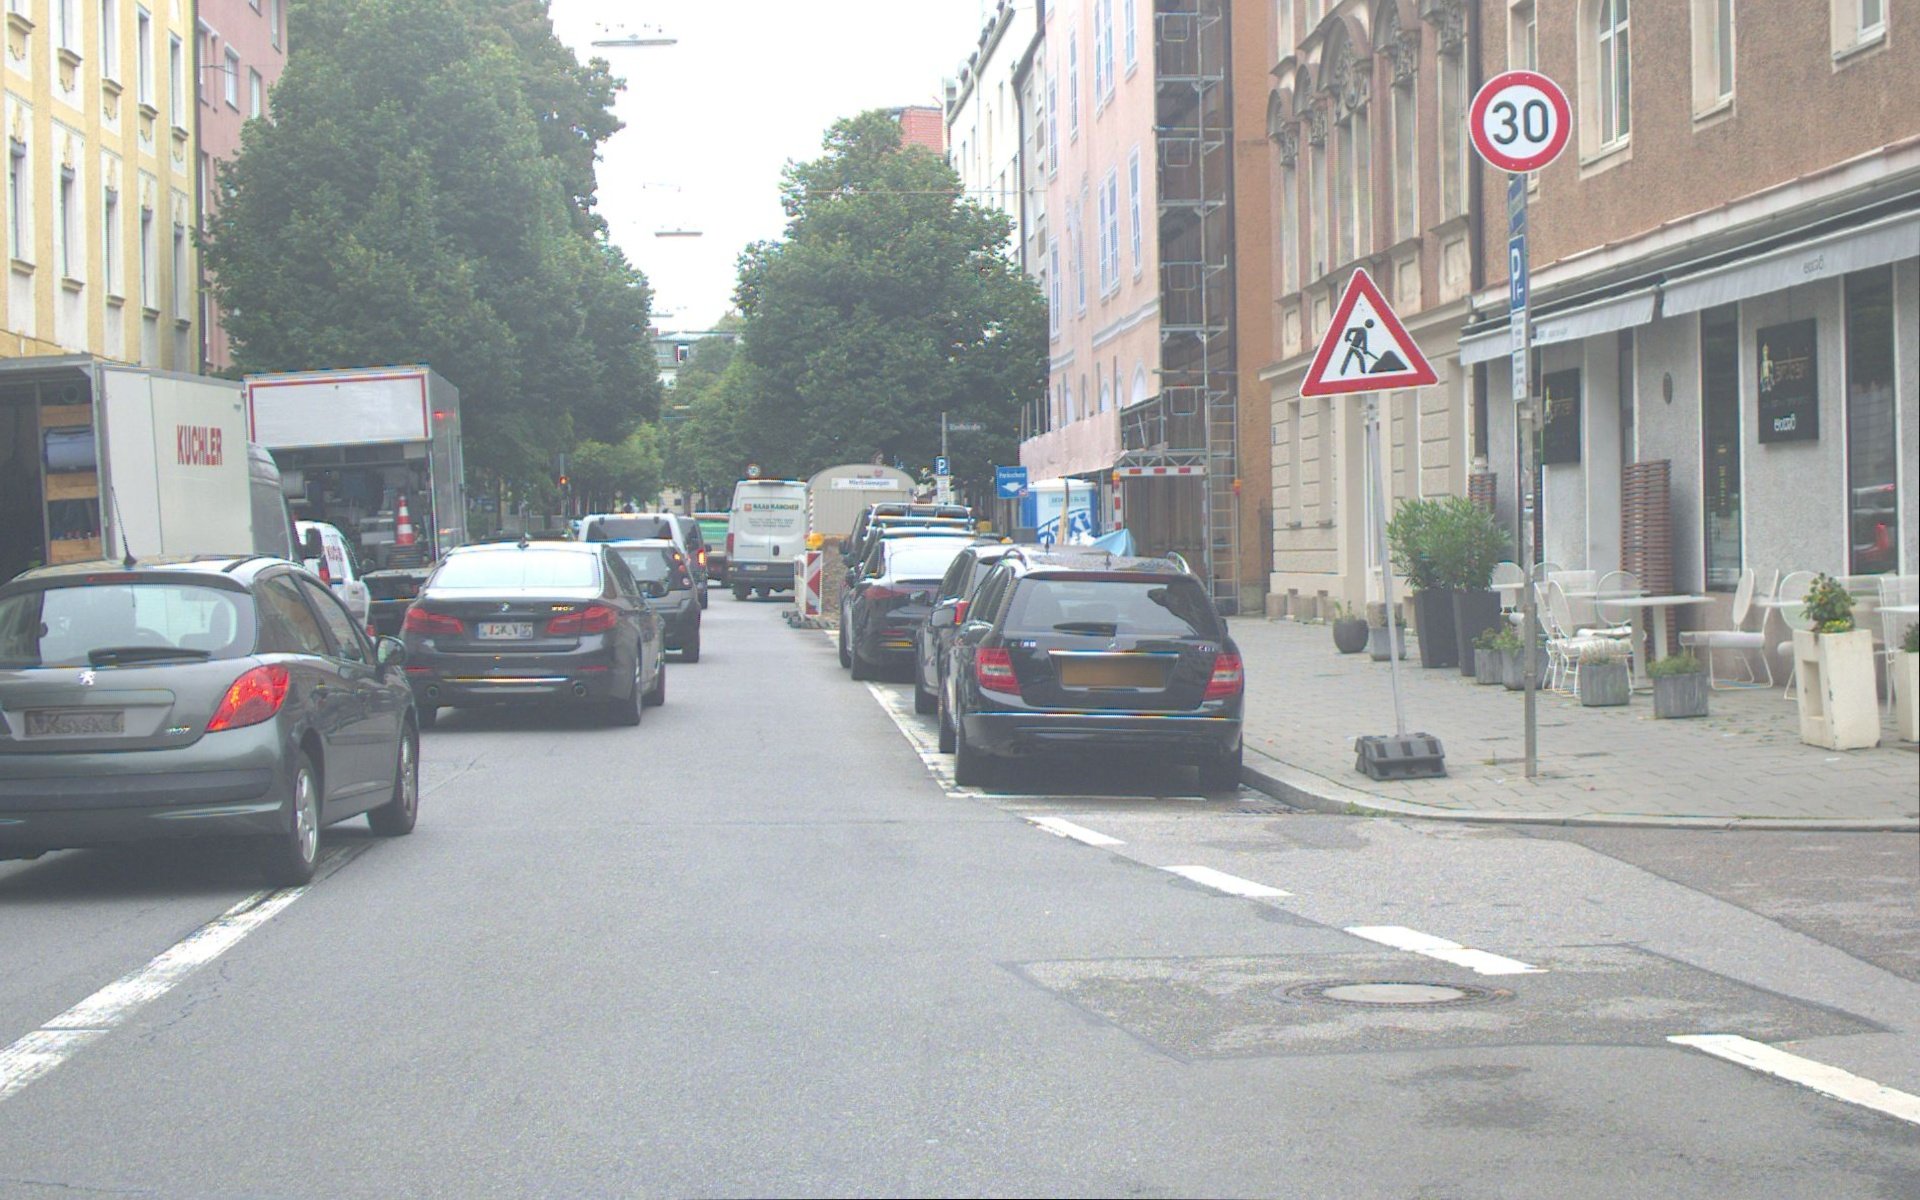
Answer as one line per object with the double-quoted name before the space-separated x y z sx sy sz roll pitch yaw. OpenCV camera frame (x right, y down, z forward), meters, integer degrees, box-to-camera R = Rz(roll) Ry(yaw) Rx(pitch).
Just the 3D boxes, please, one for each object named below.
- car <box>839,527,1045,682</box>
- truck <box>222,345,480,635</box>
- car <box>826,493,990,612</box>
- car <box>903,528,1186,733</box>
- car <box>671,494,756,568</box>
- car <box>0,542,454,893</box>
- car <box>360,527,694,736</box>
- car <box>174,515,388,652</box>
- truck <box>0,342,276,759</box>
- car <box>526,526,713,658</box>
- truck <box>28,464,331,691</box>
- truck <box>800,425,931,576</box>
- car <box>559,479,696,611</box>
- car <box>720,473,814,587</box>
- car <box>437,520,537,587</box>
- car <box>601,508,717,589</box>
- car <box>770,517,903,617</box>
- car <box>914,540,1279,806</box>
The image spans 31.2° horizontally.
"car" -0.252 0.000 36.502 1.844 1.424 4.307 2 2 -4
"truck" -8.790 -1.577 50.374 3.012 3.938 6.997 0 1 -4
"car" -0.717 -0.649 44.492 1.990 1.424 4.141 -1 2 -2
"car" 0.601 0.188 27.858 1.844 1.424 4.141 2 2 -4
"car" -6.459 -1.811 90.461 1.993 1.897 4.000 0 1 -1
"car" -3.657 0.468 16.543 1.759 1.456 4.074 -1 1 1
"car" -3.394 0.178 27.877 1.990 1.424 4.906 1 2 1
"car" -8.404 -0.239 42.857 1.990 1.605 4.141 0 1 -2
"truck" -7.383 -0.451 27.269 2.773 2.863 7.203 -1 2 -3
"car" -4.066 -0.137 41.584 1.990 1.424 4.141 -1 2 -2
"truck" -7.928 -0.261 35.409 2.286 2.164 4.807 0 1 -4
"truck" -1.983 -2.020 70.455 2.491 2.963 5.328 0 1 -3
"car" -5.459 -0.954 56.874 1.990 2.068 4.141 -1 2 -2
"car" -4.314 -1.581 77.386 1.939 2.472 4.783 0 1 -1
"car" -10.643 -1.059 77.526 1.939 1.443 3.867 0 1 -4
"car" -5.717 -1.008 65.680 1.990 1.424 4.141 -1 2 -2
"car" -1.948 -0.547 54.072 1.990 1.424 4.141 -1 2 -2
"car" 0.772 0.394 22.204 1.844 1.424 4.184 2 2 -4
